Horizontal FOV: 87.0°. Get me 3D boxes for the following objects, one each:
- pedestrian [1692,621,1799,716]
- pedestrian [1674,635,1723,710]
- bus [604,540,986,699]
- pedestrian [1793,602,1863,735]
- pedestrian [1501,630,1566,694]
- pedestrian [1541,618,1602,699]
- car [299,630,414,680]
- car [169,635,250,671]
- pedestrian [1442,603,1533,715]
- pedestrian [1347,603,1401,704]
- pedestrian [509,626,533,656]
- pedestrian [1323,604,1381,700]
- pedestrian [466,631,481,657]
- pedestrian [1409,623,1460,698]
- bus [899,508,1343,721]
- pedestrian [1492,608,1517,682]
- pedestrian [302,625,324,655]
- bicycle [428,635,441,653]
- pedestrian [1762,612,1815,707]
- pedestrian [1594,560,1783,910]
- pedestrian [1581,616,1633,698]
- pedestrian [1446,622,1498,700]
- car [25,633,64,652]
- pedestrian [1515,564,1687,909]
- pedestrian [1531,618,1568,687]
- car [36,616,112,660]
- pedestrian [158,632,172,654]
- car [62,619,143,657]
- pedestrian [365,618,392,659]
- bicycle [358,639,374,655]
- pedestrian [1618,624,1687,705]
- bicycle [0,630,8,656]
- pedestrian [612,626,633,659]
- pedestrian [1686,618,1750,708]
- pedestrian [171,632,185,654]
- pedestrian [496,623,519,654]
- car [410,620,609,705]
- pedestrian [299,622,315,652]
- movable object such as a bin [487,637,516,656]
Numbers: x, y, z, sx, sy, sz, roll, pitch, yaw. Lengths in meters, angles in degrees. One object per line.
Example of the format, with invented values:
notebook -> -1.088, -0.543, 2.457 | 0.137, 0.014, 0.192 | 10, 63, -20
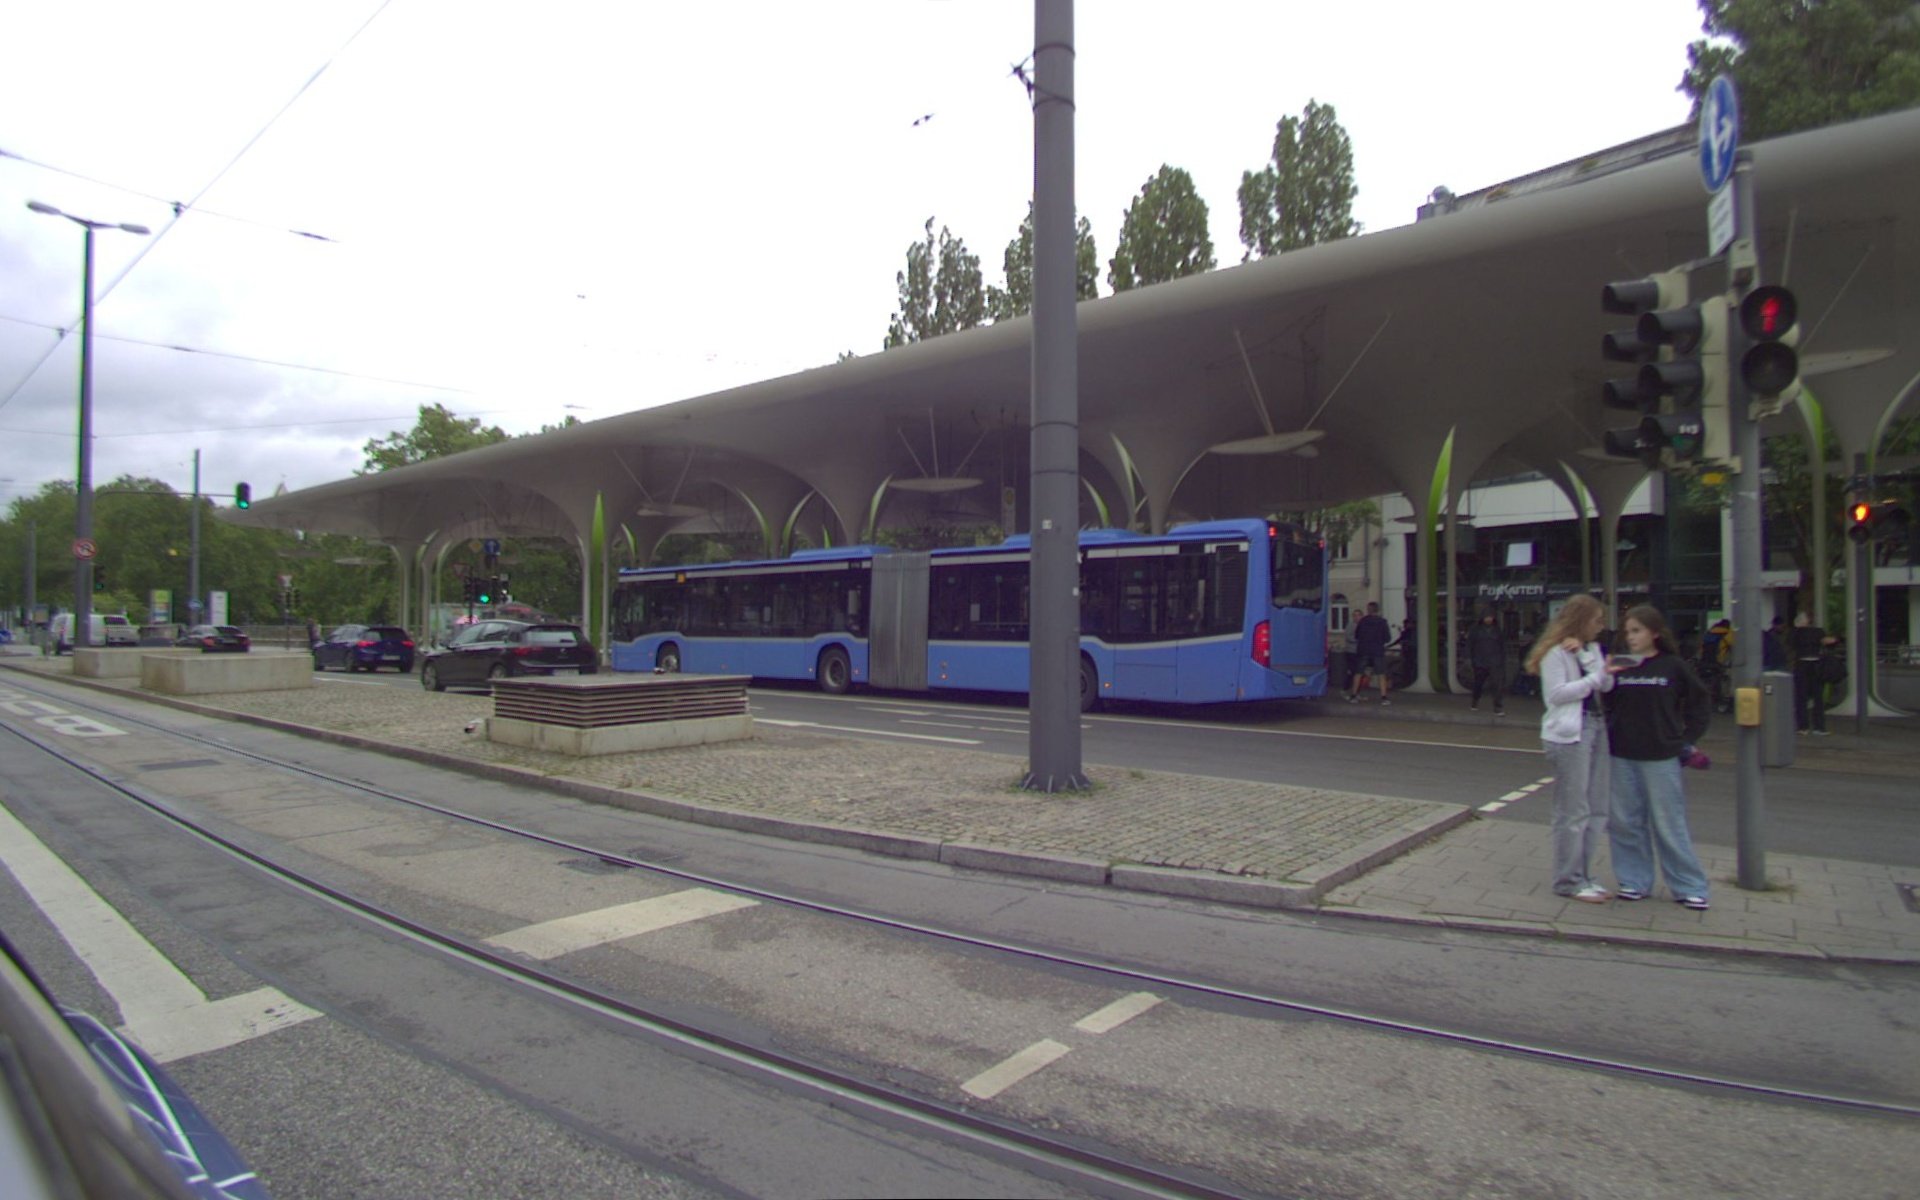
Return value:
pedestrian -> 12.493, 1.069, 16.135 | 1.014, 1.464, 0.851 | -1, -2, 10
pedestrian -> 12.623, 1.217, 17.301 | 0.612, 1.245, 0.532 | -2, -2, 41
bus -> -4.304, 0.549, 23.754 | 10.508, 3.031, 2.633 | -2, -4, 40
pedestrian -> 11.690, 0.907, 13.635 | 0.540, 1.733, 0.616 | 1, -2, -42
pedestrian -> 12.258, 1.307, 21.655 | 0.867, 1.327, 0.839 | 0, -1, -3
pedestrian -> 12.339, 1.172, 20.419 | 0.860, 1.595, 0.551 | 0, -2, -7
car -> -18.341, 1.629, 30.698 | 4.228, 1.406, 1.661 | -1, -2, 39
car -> -31.047, 2.151, 41.820 | 4.609, 1.389, 1.656 | -1, -2, 40
pedestrian -> 8.216, 0.901, 15.805 | 0.828, 1.694, 0.974 | 0, -2, -5
pedestrian -> 7.116, 0.903, 17.384 | 0.746, 1.687, 0.624 | -1, -2, 33
pedestrian -> -27.024, 2.519, 62.254 | 0.957, 1.776, 1.018 | -2, -2, 41
pedestrian -> 7.143, 0.939, 18.479 | 0.694, 1.724, 0.757 | 0, -2, -3
pedestrian -> -31.203, 2.807, 64.915 | 0.728, 1.612, 0.799 | 1, -2, -34
pedestrian -> 11.878, 1.485, 25.307 | 0.994, 1.835, 0.841 | 1, -2, -45
bus -> 2.509, 0.352, 17.852 | 7.511, 3.031, 2.632 | -2, -4, 42
pedestrian -> 14.371, 1.187, 26.711 | 0.418, 1.947, 0.481 | -1, -2, 13
pedestrian -> -36.055, 2.242, 56.407 | 0.737, 1.641, 0.734 | -1, -2, 20
bicycle -> -32.642, 2.725, 62.848 | 0.472, 1.104, 1.854 | 1, -2, -35
pedestrian -> 14.595, 1.030, 17.826 | 0.589, 1.623, 0.624 | 2, -3, -45
pedestrian -> 3.579, 0.636, 5.007 | 0.551, 1.631, 0.486 | 0, -2, 7
pedestrian -> 12.713, 1.113, 19.906 | 0.655, 1.595, 0.499 | 0, -2, -7
pedestrian -> 12.502, 1.467, 24.702 | 0.994, 1.841, 0.841 | 1, -2, -45
car -> -79.462, 3.643, 87.831 | 4.099, 1.582, 1.973 | -2, -2, 41
pedestrian -> 3.174, 0.648, 5.043 | 0.514, 1.631, 0.464 | 0, -2, -5
pedestrian -> 13.976, 1.244, 24.003 | 0.533, 1.615, 0.618 | -1, -2, 11
car -> -39.516, 1.687, 45.113 | 4.213, 1.869, 1.768 | -1, -3, 39
pedestrian -> -56.657, 3.078, 72.113 | 0.588, 1.570, 0.624 | -2, -3, 40
car -> -45.020, 1.979, 53.078 | 6.150, 1.902, 2.153 | -2, -3, 39
pedestrian -> -26.146, 1.728, 45.516 | 0.801, 1.853, 0.664 | -1, -2, 9
bicycle -> -35.599, 2.800, 60.621 | 0.473, 0.901, 1.852 | 1, -2, -41
pedestrian -> 12.828, 1.184, 18.761 | 0.860, 1.469, 0.551 | 0, -2, -7
bicycle -> -43.400, 1.919, 44.562 | 0.502, 1.159, 2.217 | -1, 0, 19
pedestrian -> -21.108, 2.624, 63.257 | 0.988, 2.029, 1.029 | 1, -2, -38
pedestrian -> 13.425, 1.087, 17.926 | 0.798, 1.542, 0.724 | -2, -2, 43
pedestrian -> -56.264, 3.066, 72.819 | 0.588, 1.570, 0.624 | -2, -3, 40
pedestrian -> -23.885, 2.039, 53.449 | 0.831, 1.622, 0.745 | -1, -2, 13
car -> -8.514, 1.110, 19.010 | 4.031, 1.427, 1.824 | -1, -2, 40
pedestrian -> -38.447, 2.166, 59.582 | 0.725, 1.729, 0.862 | 1, -2, -39
movable object such as a bin -> -27.774, 2.816, 61.364 | 0.957, 1.092, 1.319 | -2, -2, 41
